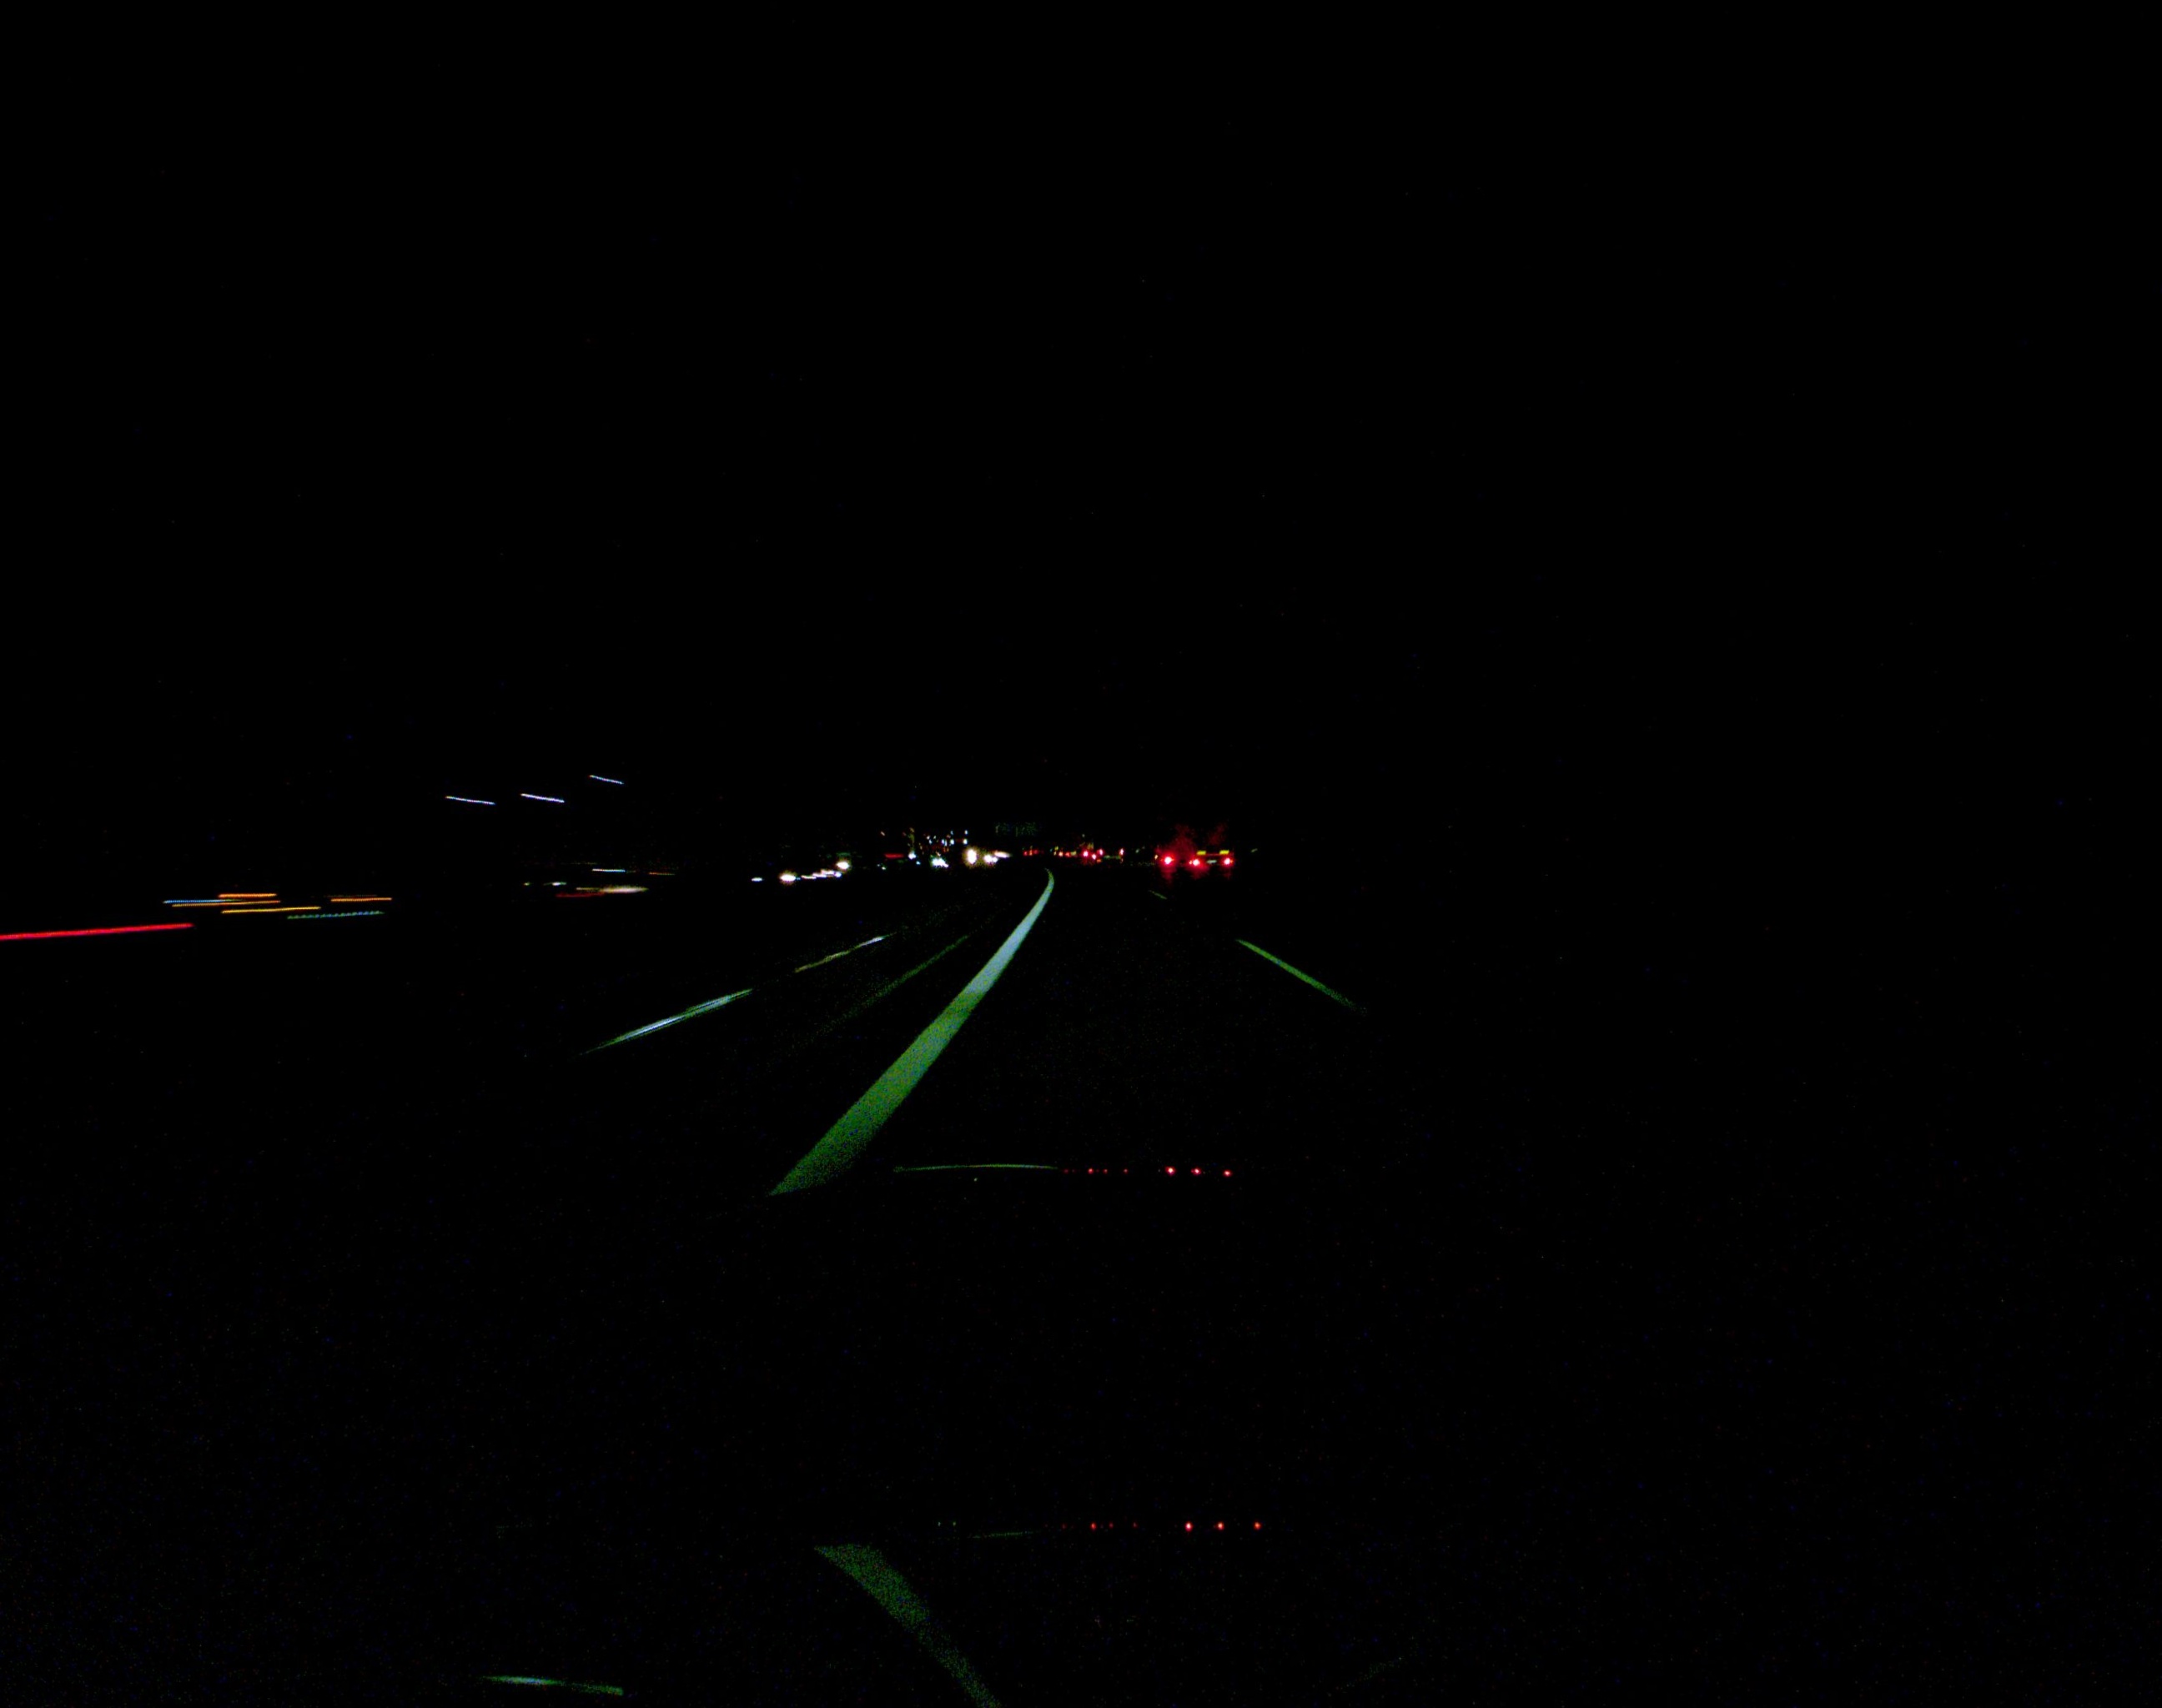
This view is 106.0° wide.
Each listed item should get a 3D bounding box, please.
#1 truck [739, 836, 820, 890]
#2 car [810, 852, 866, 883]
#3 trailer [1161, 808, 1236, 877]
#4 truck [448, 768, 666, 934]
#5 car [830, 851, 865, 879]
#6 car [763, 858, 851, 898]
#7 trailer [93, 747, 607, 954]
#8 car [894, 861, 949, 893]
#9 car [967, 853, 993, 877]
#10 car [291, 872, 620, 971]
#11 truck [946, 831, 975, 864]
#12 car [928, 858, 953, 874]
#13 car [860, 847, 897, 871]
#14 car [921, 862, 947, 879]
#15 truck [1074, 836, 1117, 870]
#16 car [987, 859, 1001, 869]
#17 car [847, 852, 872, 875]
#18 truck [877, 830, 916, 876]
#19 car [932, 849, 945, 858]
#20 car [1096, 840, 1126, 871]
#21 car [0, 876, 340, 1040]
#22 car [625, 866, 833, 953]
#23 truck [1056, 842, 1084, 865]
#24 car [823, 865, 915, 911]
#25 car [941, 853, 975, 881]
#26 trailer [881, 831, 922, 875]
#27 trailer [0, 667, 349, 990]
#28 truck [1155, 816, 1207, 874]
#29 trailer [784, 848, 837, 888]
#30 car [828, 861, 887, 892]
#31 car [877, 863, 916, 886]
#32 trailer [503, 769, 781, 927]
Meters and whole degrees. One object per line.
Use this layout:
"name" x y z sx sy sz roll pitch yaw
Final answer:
"truck" -19.459 0.554 53.074 2.488 3.218 7.906 -1 0 -2
"car" -15.463 0.900 52.104 1.897 1.887 5.021 0 -2 1
"trailer" 7.614 -0.670 54.895 2.846 4.067 13.197 -1 0 -1
"truck" -15.126 -0.050 24.127 2.609 4.269 5.954 -1 -1 -1
"car" -20.935 0.969 73.121 1.989 2.399 4.508 -1 0 -2
"car" -10.938 0.934 32.901 1.897 1.492 4.867 -1 -1 0
"trailer" -19.073 -0.024 23.595 2.831 4.172 13.279 -3 0 0
"car" -7.796 1.121 40.274 1.620 1.492 4.868 0 -2 1
"car" -8.780 0.970 71.358 1.872 1.923 5.597 -1 -1 -3
"car" -11.313 1.118 15.402 1.895 1.492 5.265 -1 -1 4
"truck" -16.366 -0.783 110.877 3.102 4.098 7.066 2 -2 -3
"car" -13.514 1.152 78.419 1.944 1.443 4.641 -1 0 -5
"car" -16.307 0.409 65.696 1.989 1.810 4.315 -1 0 -2
"car" -12.627 1.401 69.974 1.624 1.350 3.995 2 -2 -3
"truck" 2.001 0.071 124.694 3.911 4.627 20.969 -1 -1 -6
"car" -13.148 1.433 122.914 1.840 1.426 4.506 2 0 -4
"car" -21.408 0.908 78.828 1.713 2.079 4.499 -1 0 -9
"truck" -16.542 -0.070 73.421 2.825 3.916 4.923 -2 0 -7
"car" -23.217 -0.054 132.785 1.651 1.477 3.767 -1 0 -6
"car" 2.659 0.203 73.065 2.331 2.640 5.242 1 -2 -2
"car" -11.022 1.026 8.506 1.895 1.492 4.872 -1 -1 4
"car" -6.988 1.025 16.866 1.895 1.492 4.872 -1 -1 4
"truck" -2.351 -0.052 164.960 3.345 4.476 13.860 2 0 -10
"car" -7.471 1.160 29.224 1.897 1.492 4.868 -1 -1 1
"car" -8.725 0.911 58.007 1.872 1.923 4.862 -1 -1 -3
"trailer" -17.054 -0.081 77.802 2.817 3.917 8.719 -2 0 -7
"trailer" -15.448 -0.314 8.214 2.866 4.184 14.522 -1 0 0
"truck" 7.451 -0.644 61.586 2.853 4.077 7.506 -1 0 -1
"trailer" -19.703 1.013 59.550 2.358 2.744 4.986 -1 0 -3
"car" -11.640 1.165 42.724 1.899 1.492 4.863 -1 -1 -2
"car" -12.541 1.375 55.672 1.900 1.492 4.859 -1 -1 -5
"trailer" -15.505 -0.114 31.092 2.832 4.464 14.512 -4 0 -2
